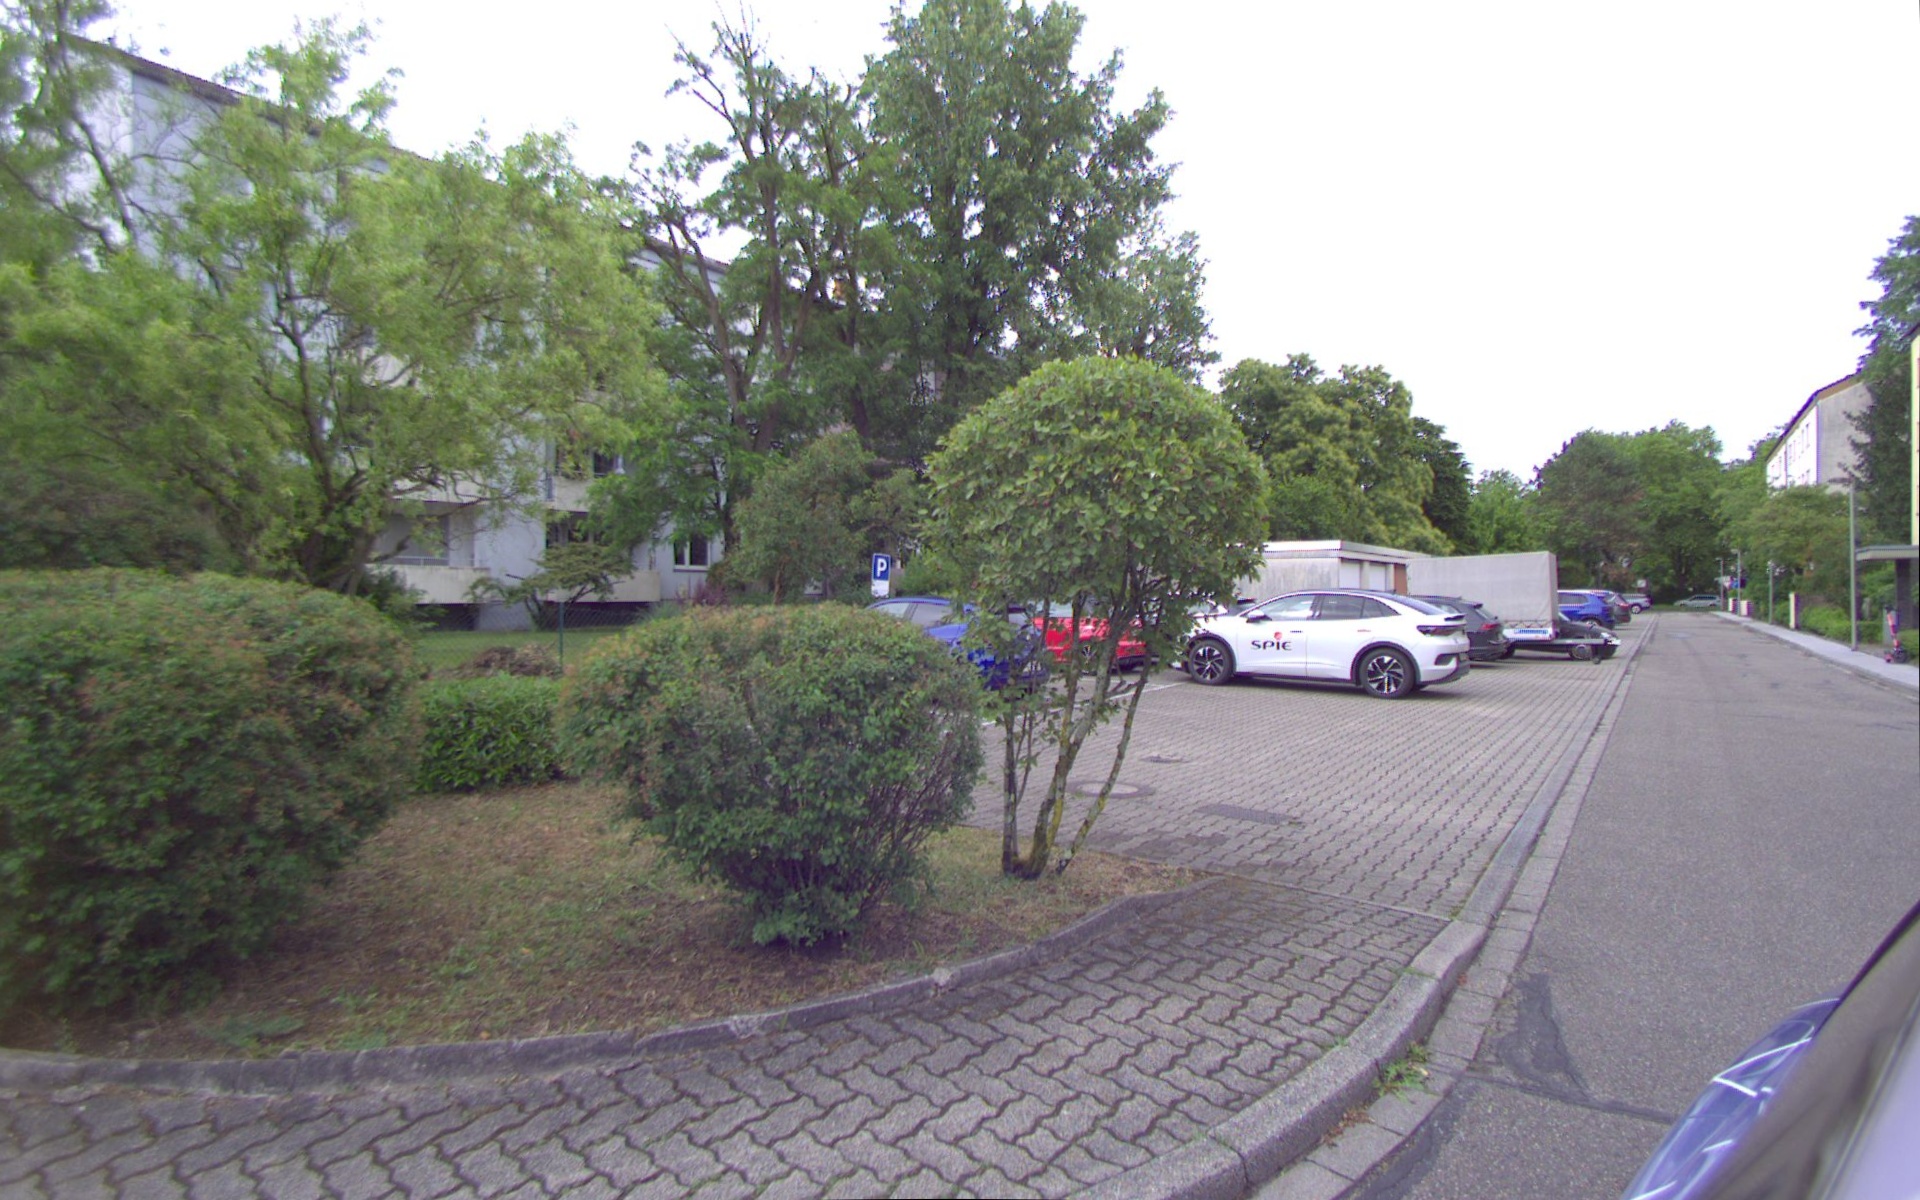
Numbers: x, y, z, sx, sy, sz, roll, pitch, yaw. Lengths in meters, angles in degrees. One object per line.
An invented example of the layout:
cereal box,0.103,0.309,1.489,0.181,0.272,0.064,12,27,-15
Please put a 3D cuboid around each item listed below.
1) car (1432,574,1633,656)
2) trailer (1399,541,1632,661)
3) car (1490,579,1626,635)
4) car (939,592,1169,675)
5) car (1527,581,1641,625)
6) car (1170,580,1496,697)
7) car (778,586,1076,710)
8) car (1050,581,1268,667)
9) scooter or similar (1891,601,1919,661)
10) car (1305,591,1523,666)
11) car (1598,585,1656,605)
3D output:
car,14.708,0.324,26.062,4.298,1.824,1.974,3,2,36
trailer,12.994,0.021,23.794,4.597,2.557,1.917,0,0,37
car,21.131,0.207,35.819,3.976,1.724,1.974,3,2,36
car,1.729,0.554,18.987,3.886,1.398,1.946,0,0,36
car,27.835,0.086,45.151,4.183,1.749,1.974,3,2,36
car,5.833,0.507,16.090,4.527,1.609,1.961,0,0,38
car,-0.518,0.579,14.436,3.886,1.530,2.001,0,0,36
car,4.013,0.421,20.379,3.959,1.571,1.982,0,0,26
scooter or similar,19.916,0.636,21.327,0.272,1.226,1.150,0,0,34
car,9.840,0.551,22.067,4.115,1.467,1.592,1,1,36
car,56.942,-0.441,86.419,4.080,1.666,1.765,0,1,35
